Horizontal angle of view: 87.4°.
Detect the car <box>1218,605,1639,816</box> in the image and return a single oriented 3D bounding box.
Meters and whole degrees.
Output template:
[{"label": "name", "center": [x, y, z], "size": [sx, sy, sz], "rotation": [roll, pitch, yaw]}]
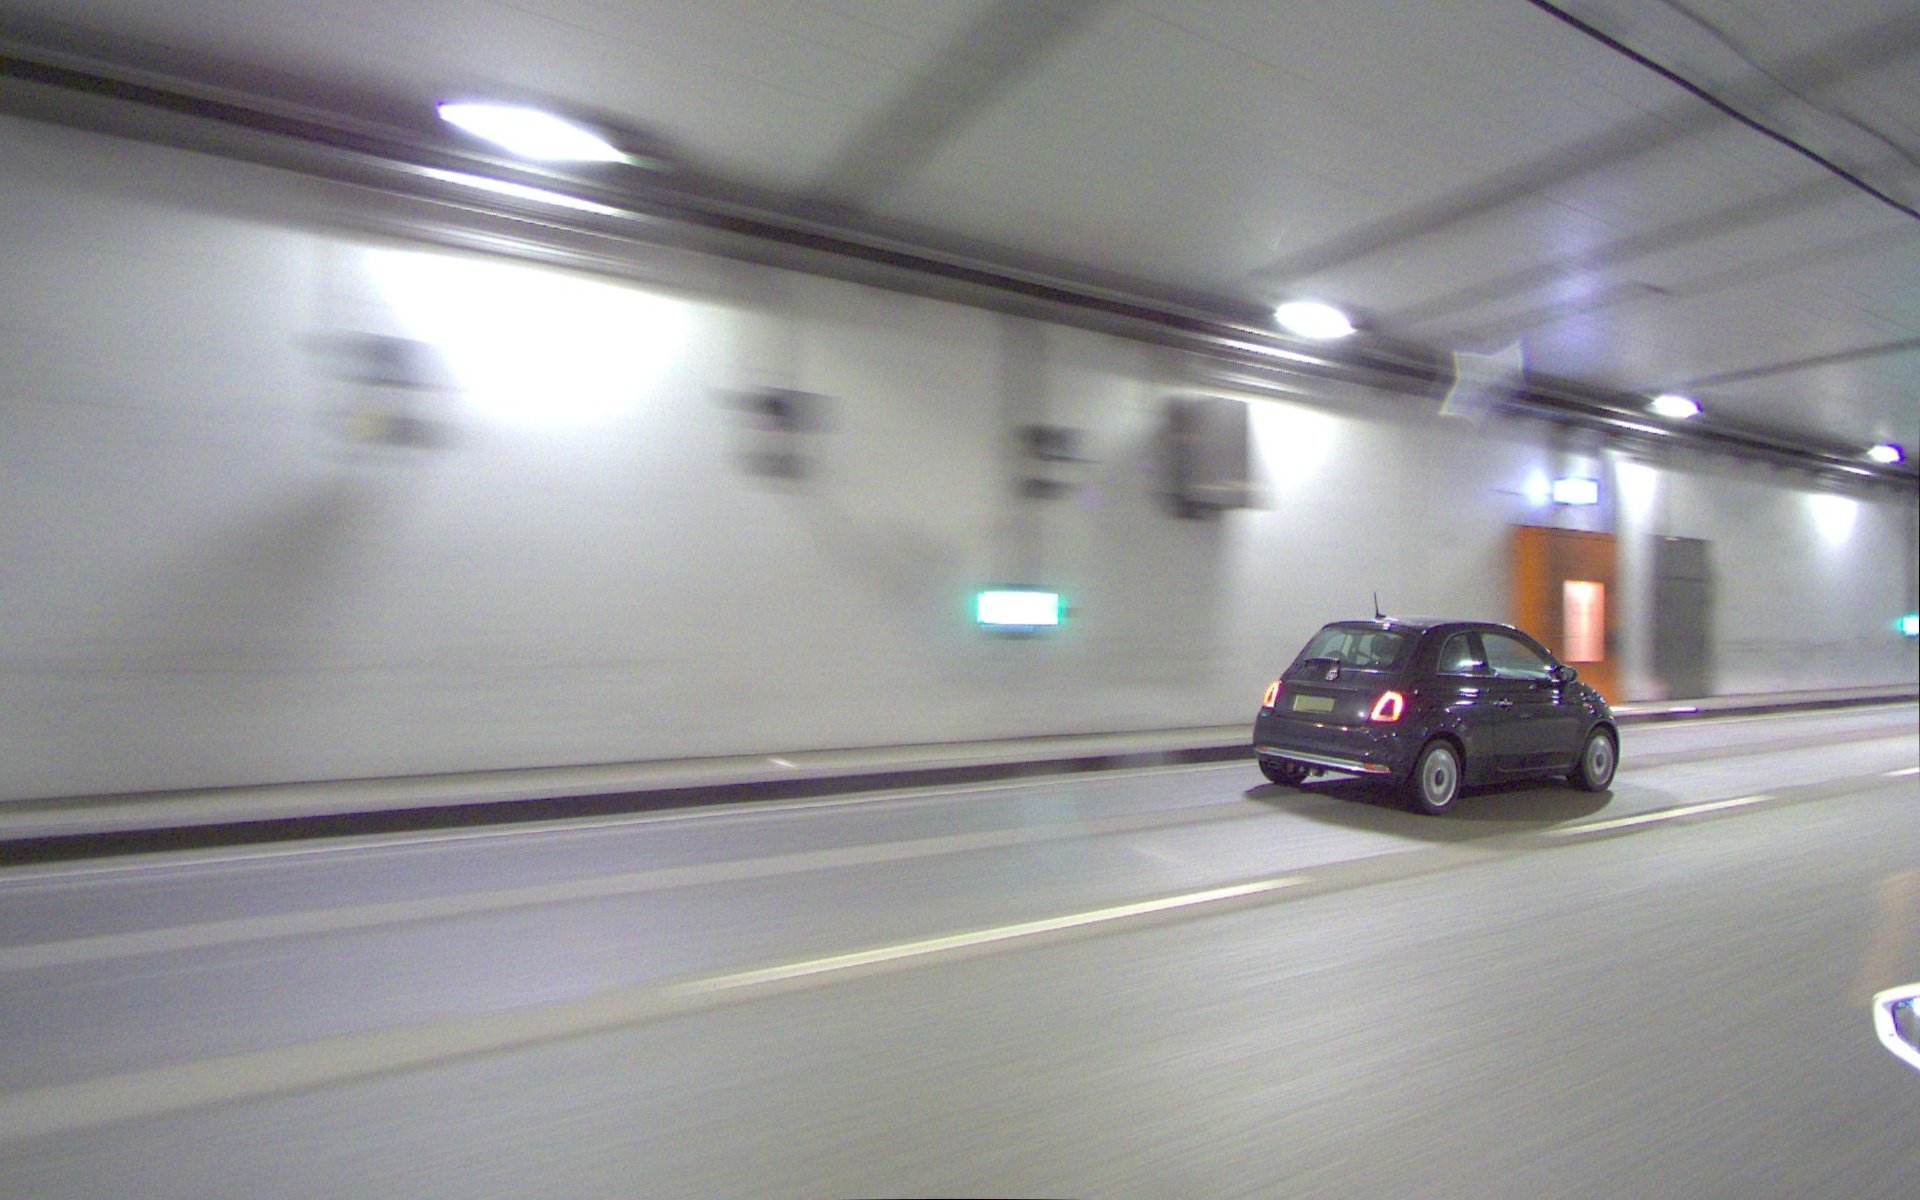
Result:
[{"label": "car", "center": [4.112, 0.810, 8.718], "size": [3.531, 1.474, 1.604], "rotation": [1, 0, -31]}]
